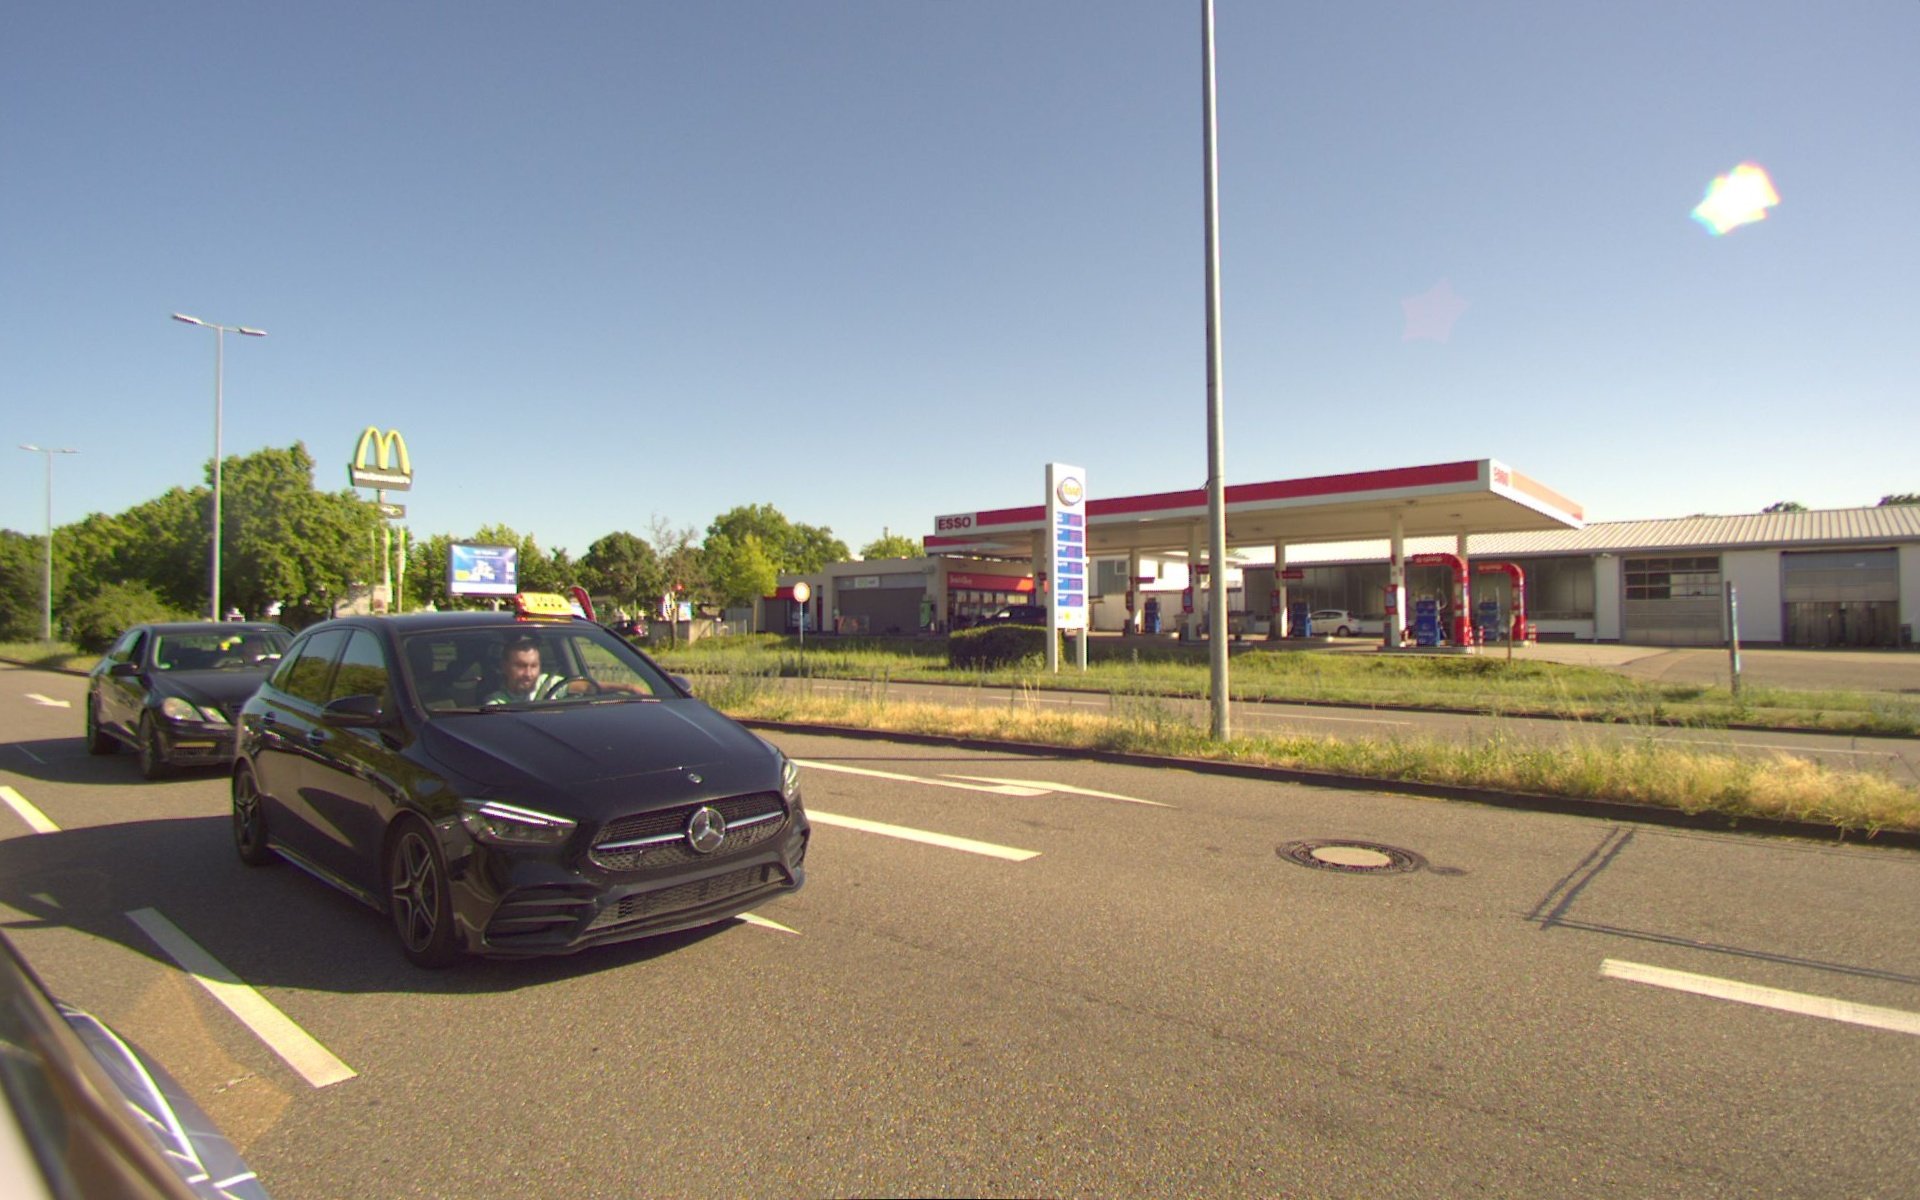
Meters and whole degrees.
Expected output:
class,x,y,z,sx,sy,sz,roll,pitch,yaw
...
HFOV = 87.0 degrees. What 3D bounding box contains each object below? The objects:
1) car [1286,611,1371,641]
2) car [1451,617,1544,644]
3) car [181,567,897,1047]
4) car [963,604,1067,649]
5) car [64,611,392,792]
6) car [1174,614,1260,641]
class,x,y,z,sx,sy,sz,roll,pitch,yaw
car,19.975,1.383,54.932,3.855,1.500,1.973,-1,0,41
car,26.216,1.467,49.431,3.729,1.196,1.658,-1,0,41
car,-2.611,0.745,5.583,4.579,1.614,1.765,-2,-1,40
car,2.339,1.138,43.969,4.322,1.739,1.783,-1,2,43
car,-8.018,0.904,10.921,4.461,1.521,1.928,-1,0,41
car,15.134,1.607,59.785,4.540,1.477,1.973,-1,0,41
